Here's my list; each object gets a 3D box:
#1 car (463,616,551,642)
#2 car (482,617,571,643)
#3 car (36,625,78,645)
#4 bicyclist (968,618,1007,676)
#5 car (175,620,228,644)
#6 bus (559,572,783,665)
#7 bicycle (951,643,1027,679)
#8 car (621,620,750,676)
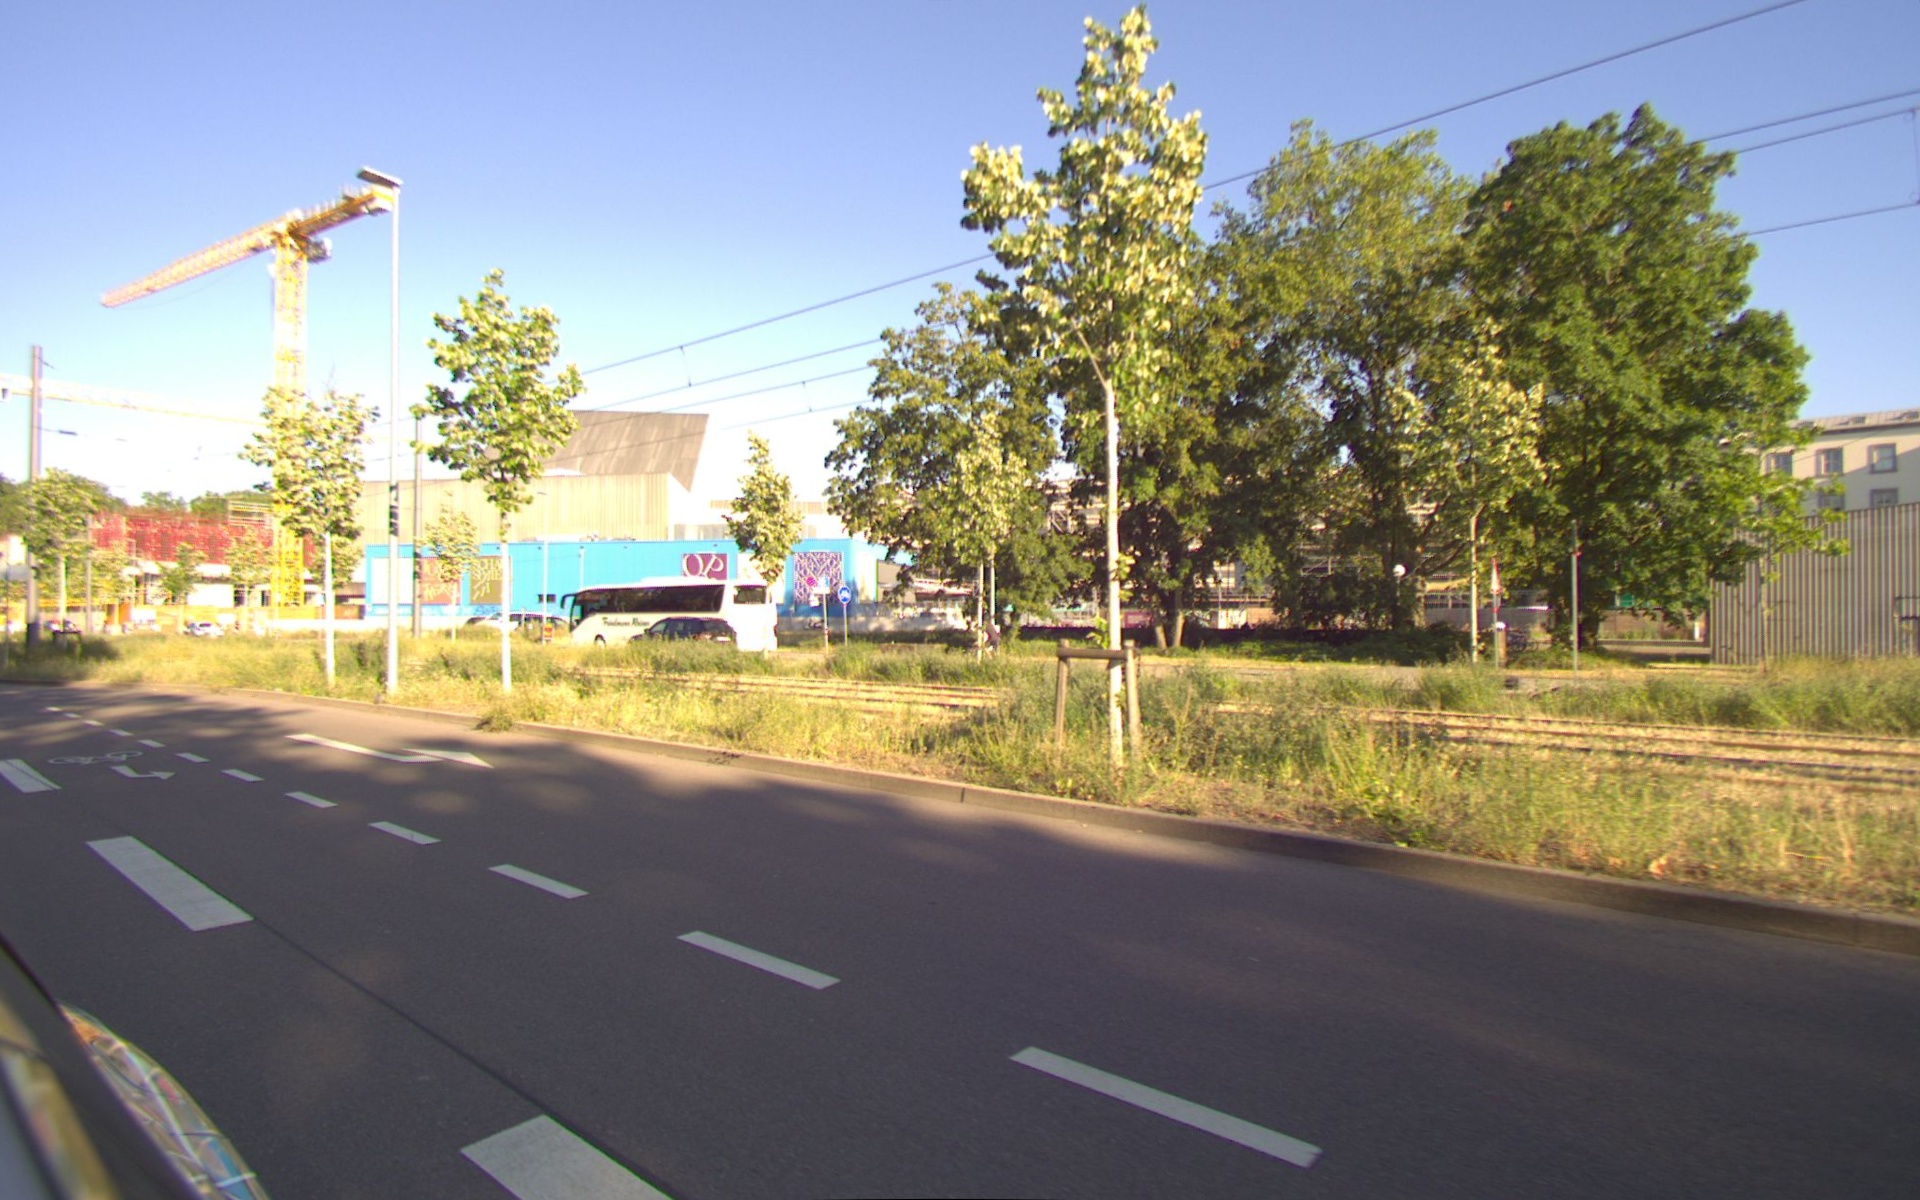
[{"bbox_3d":[-31.139,1.969,69.743,2.121,1.730,5.178,-1,-1,37],"label":"car"},{"bbox_3d":[-29.034,1.984,67.929,2.121,1.730,5.178,-1,-1,37],"label":"car"},{"bbox_3d":[-78.642,2.996,88.112,4.264,1.663,1.975,-1,-1,38],"label":"car"},{"bbox_3d":[0.809,1.393,30.328,0.953,1.721,0.680,-2,-2,41],"label":"bicyclist"},{"bbox_3d":[-52.759,2.217,70.378,4.162,1.655,1.974,-1,-1,39],"label":"car"},{"bbox_3d":[-13.065,0.849,44.581,12.684,3.622,2.771,-1,-1,39],"label":"bus"},{"bbox_3d":[0.853,1.799,30.257,2.360,1.010,0.680,-1,-2,41],"label":"bicycle"},{"bbox_3d":[-9.420,1.580,34.550,4.809,1.779,1.852,-1,-2,40],"label":"car"}]
